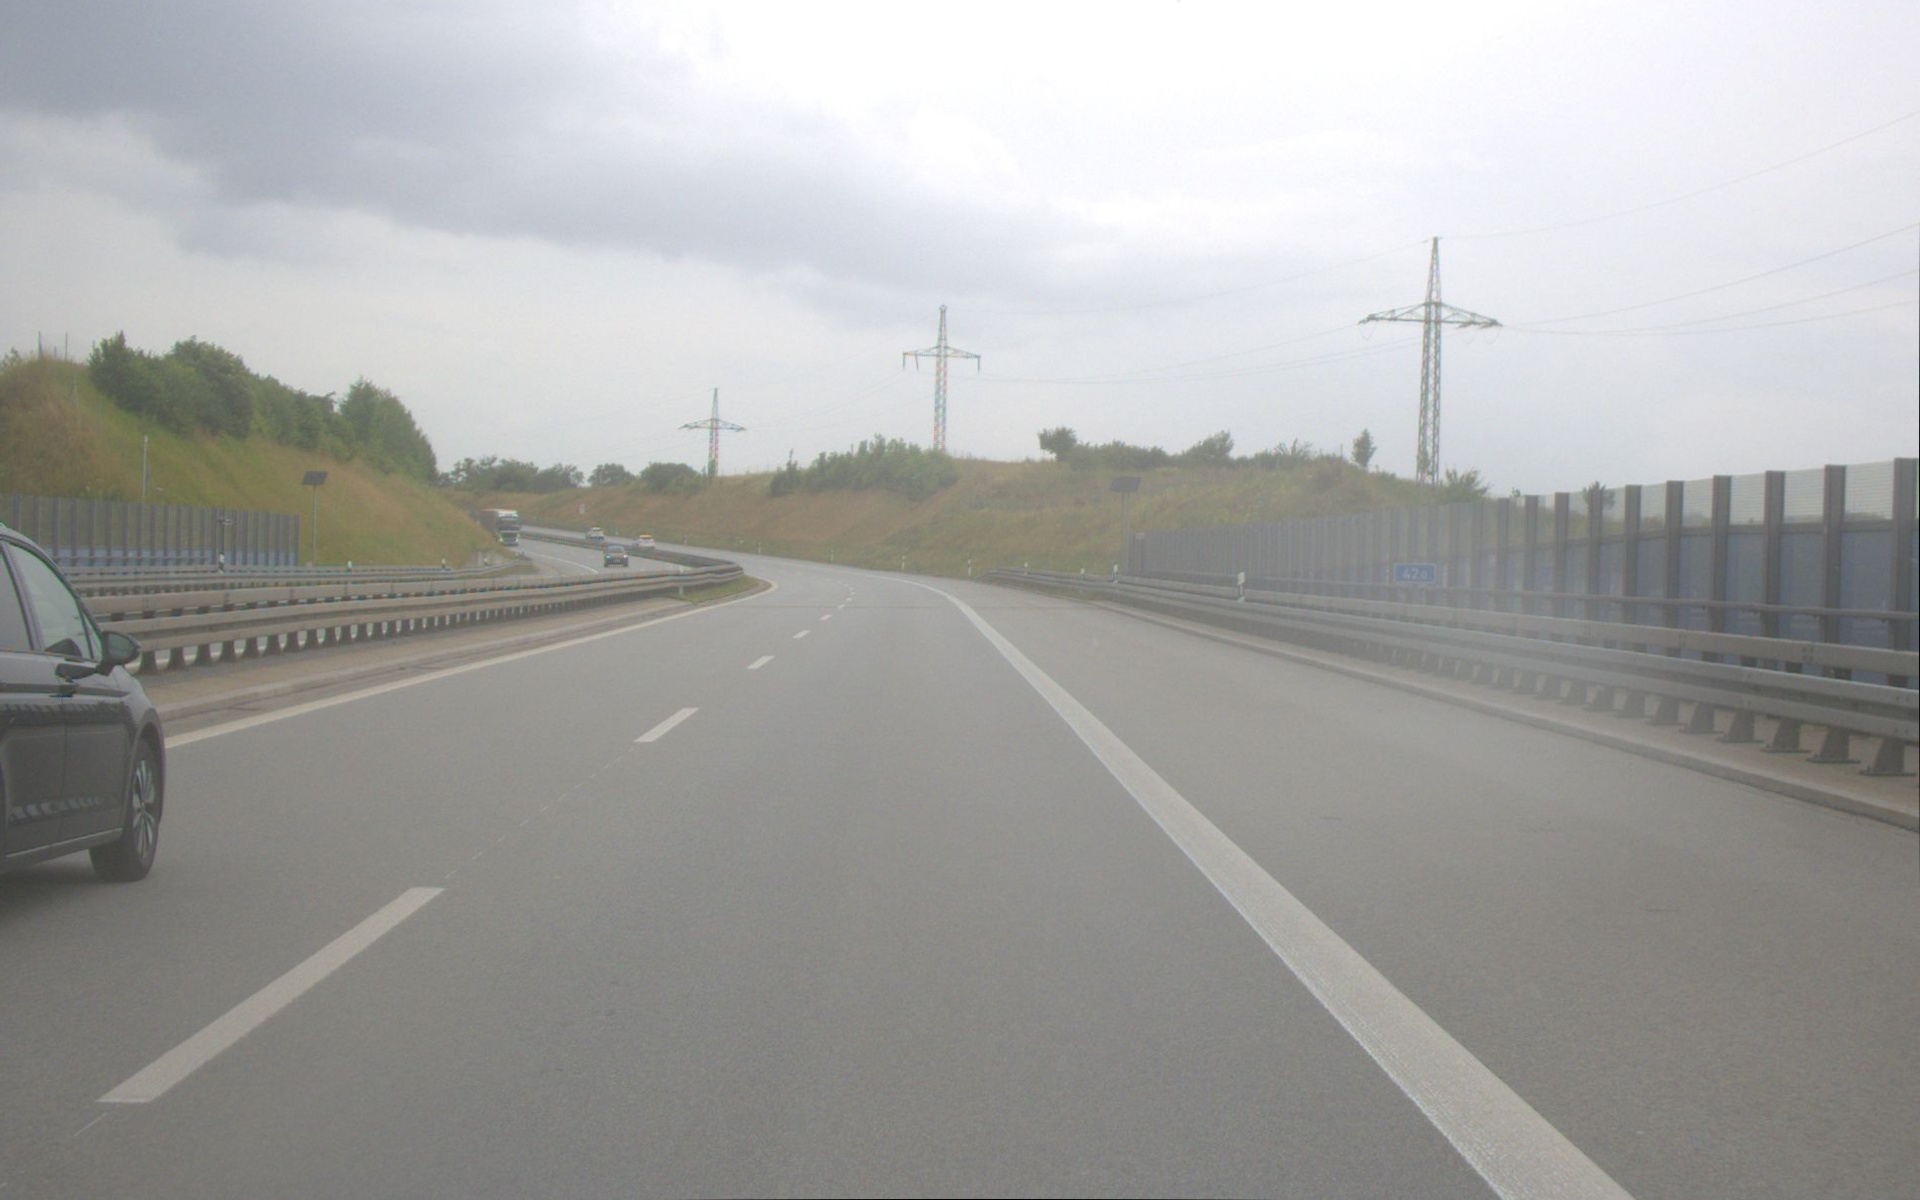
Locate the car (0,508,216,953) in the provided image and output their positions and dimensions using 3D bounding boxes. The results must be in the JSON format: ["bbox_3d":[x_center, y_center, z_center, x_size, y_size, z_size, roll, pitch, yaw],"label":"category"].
[{"bbox_3d":[-4.556,0.449,14.209,1.896,1.665,5.397,1,1,-1],"label":"car"}]
